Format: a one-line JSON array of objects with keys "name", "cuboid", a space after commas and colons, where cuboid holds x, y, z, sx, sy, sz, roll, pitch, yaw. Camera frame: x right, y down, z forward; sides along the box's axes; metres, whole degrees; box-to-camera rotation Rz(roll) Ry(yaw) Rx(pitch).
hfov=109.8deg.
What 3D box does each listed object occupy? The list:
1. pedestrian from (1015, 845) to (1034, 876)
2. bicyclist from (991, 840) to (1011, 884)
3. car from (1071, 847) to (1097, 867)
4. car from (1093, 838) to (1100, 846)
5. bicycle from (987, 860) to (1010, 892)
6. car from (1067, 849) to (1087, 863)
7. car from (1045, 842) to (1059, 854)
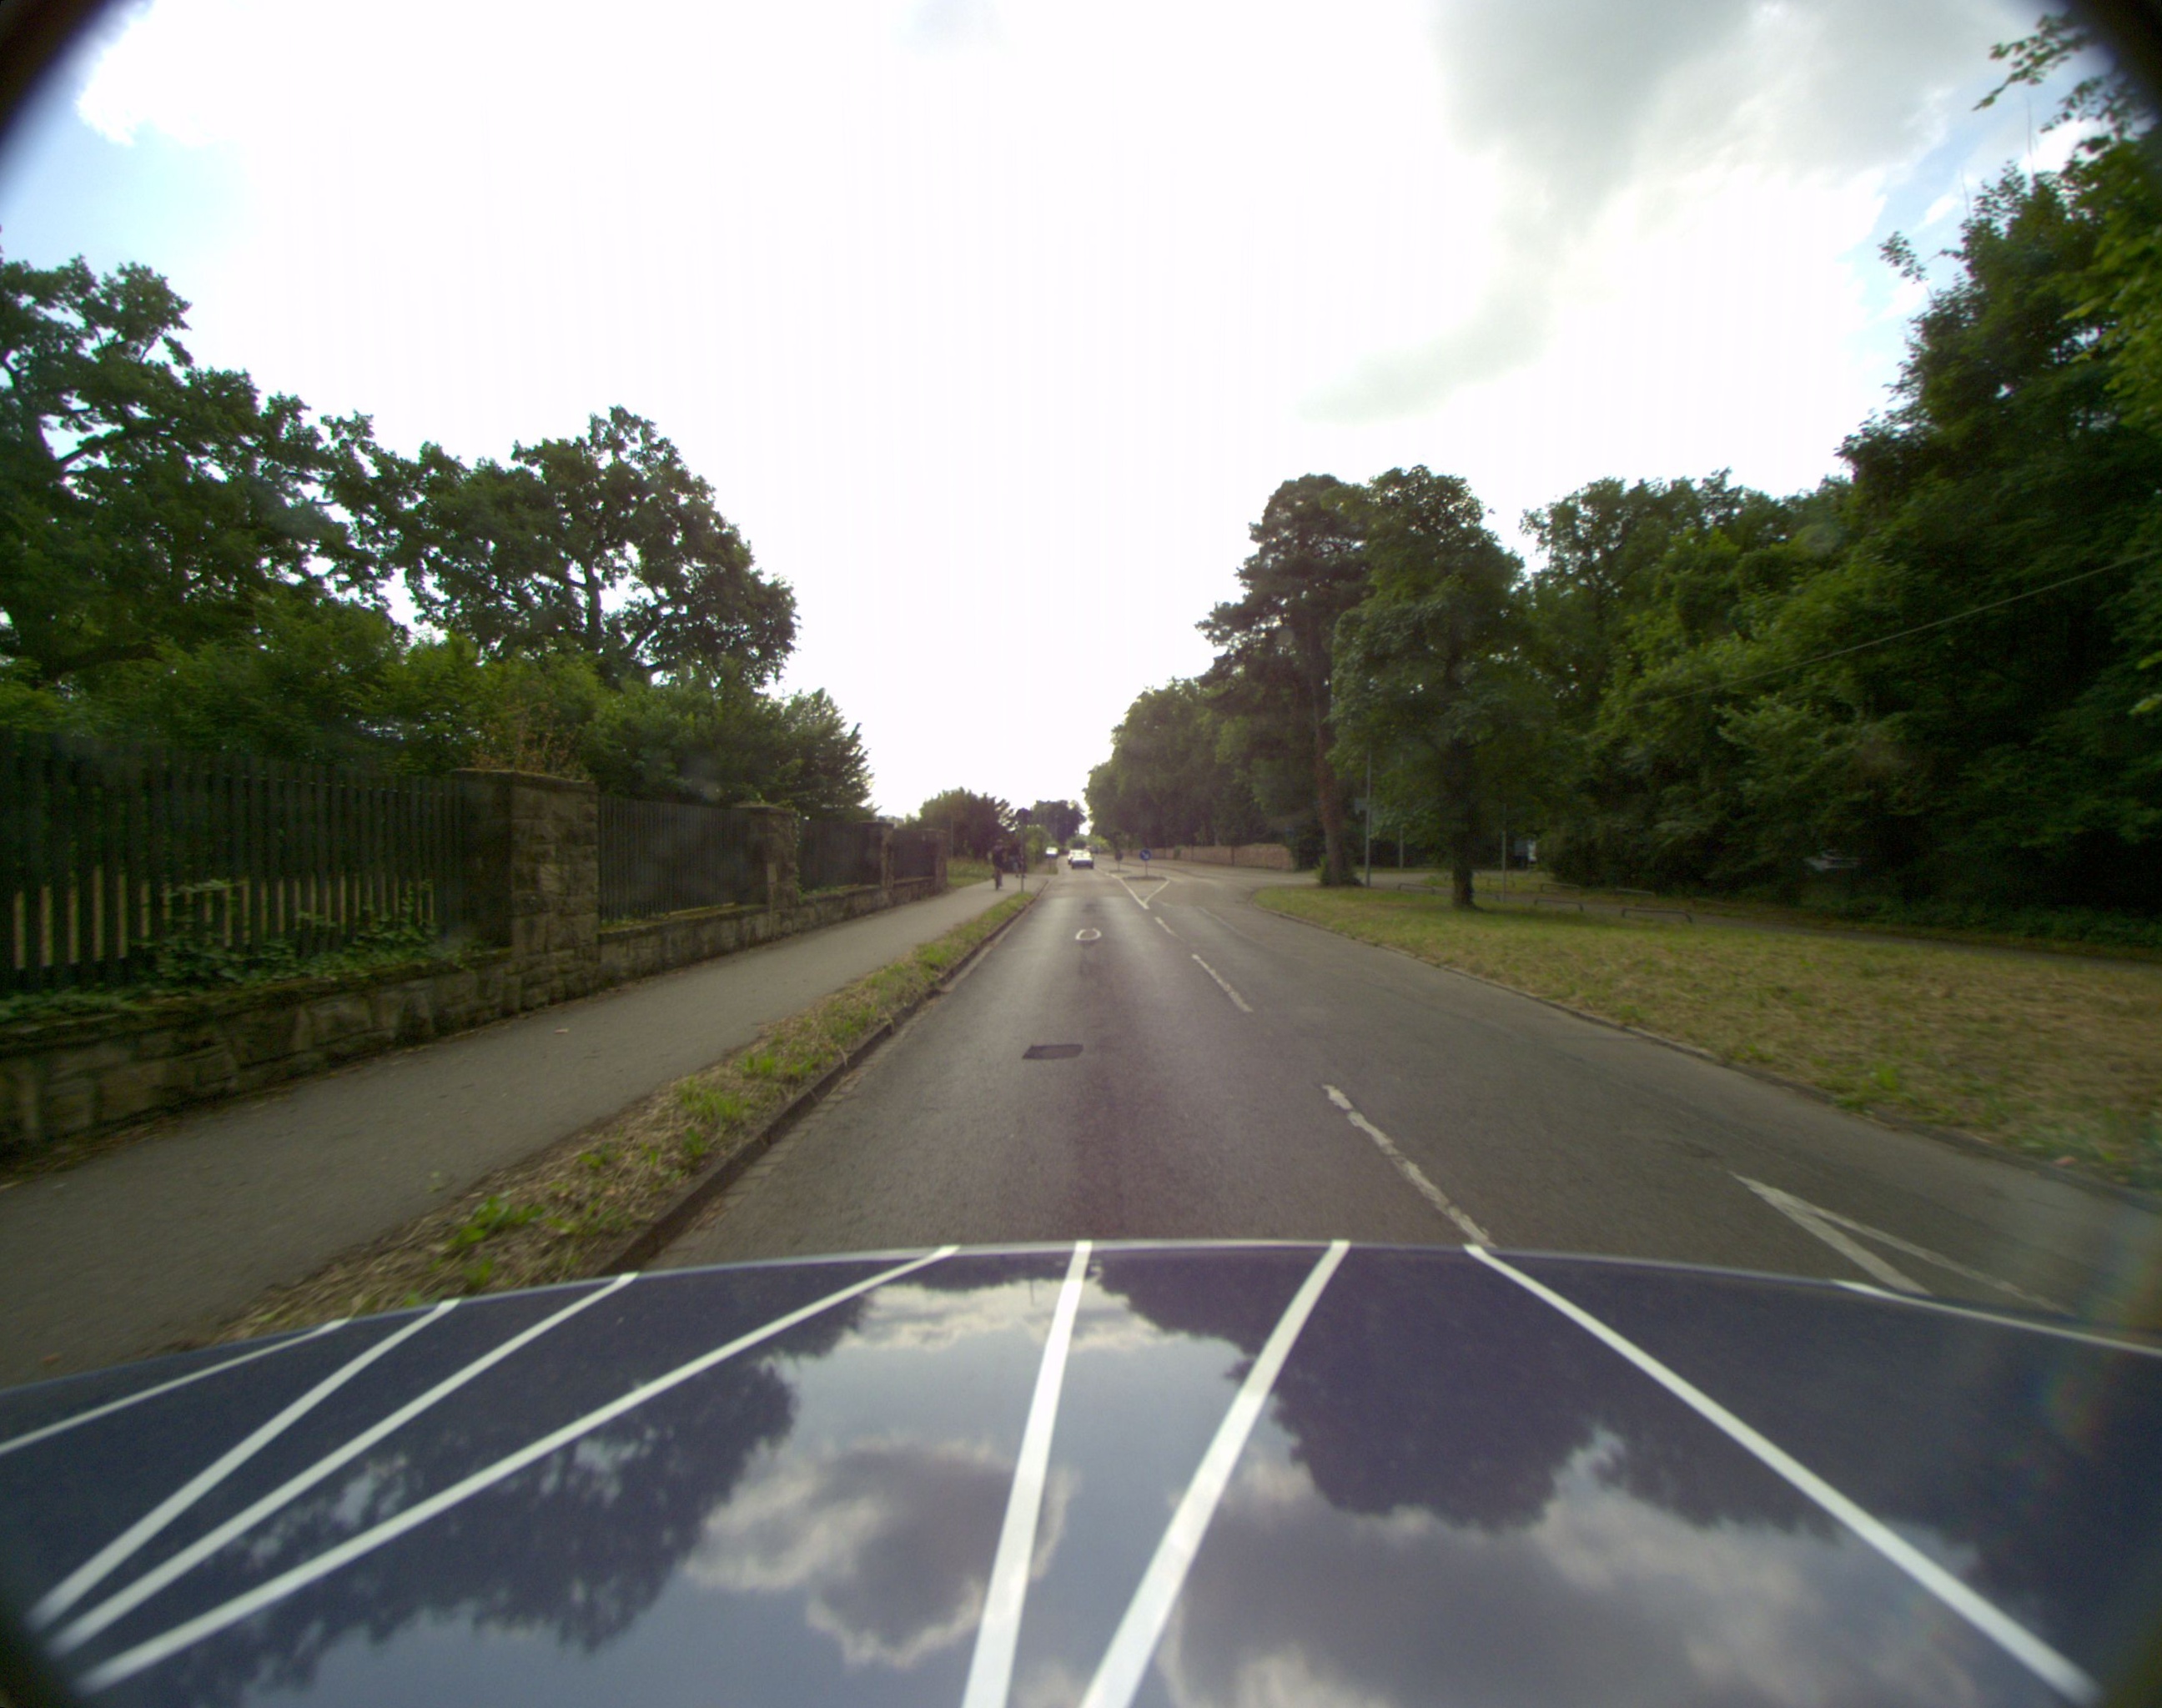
[{"name": "pedestrian", "cuboid": [-3.060, 0.361, 40.997, 0.831, 1.641, 0.626, 1, 1, 17]}, {"name": "bicyclist", "cuboid": [-2.917, 0.296, 27.833, 0.571, 1.579, 1.205, 1, 1, 1]}, {"name": "car", "cuboid": [0.219, 0.283, 62.764, 1.965, 1.455, 4.530, -2, -1, -1]}, {"name": "car", "cuboid": [4.387, -3.472, 215.662, 1.999, 2.221, 4.374, 0, 1, 0]}, {"name": "bicycle", "cuboid": [-3.000, 0.779, 27.754, 0.559, 1.066, 2.157, 1, 0, 1]}, {"name": "car", "cuboid": [-0.414, 0.221, 78.674, 1.966, 1.455, 4.529, 1, -1, -2]}, {"name": "car", "cuboid": [-4.192, -0.802, 110.242, 1.799, 1.652, 4.000, -2, 0, 0]}]
